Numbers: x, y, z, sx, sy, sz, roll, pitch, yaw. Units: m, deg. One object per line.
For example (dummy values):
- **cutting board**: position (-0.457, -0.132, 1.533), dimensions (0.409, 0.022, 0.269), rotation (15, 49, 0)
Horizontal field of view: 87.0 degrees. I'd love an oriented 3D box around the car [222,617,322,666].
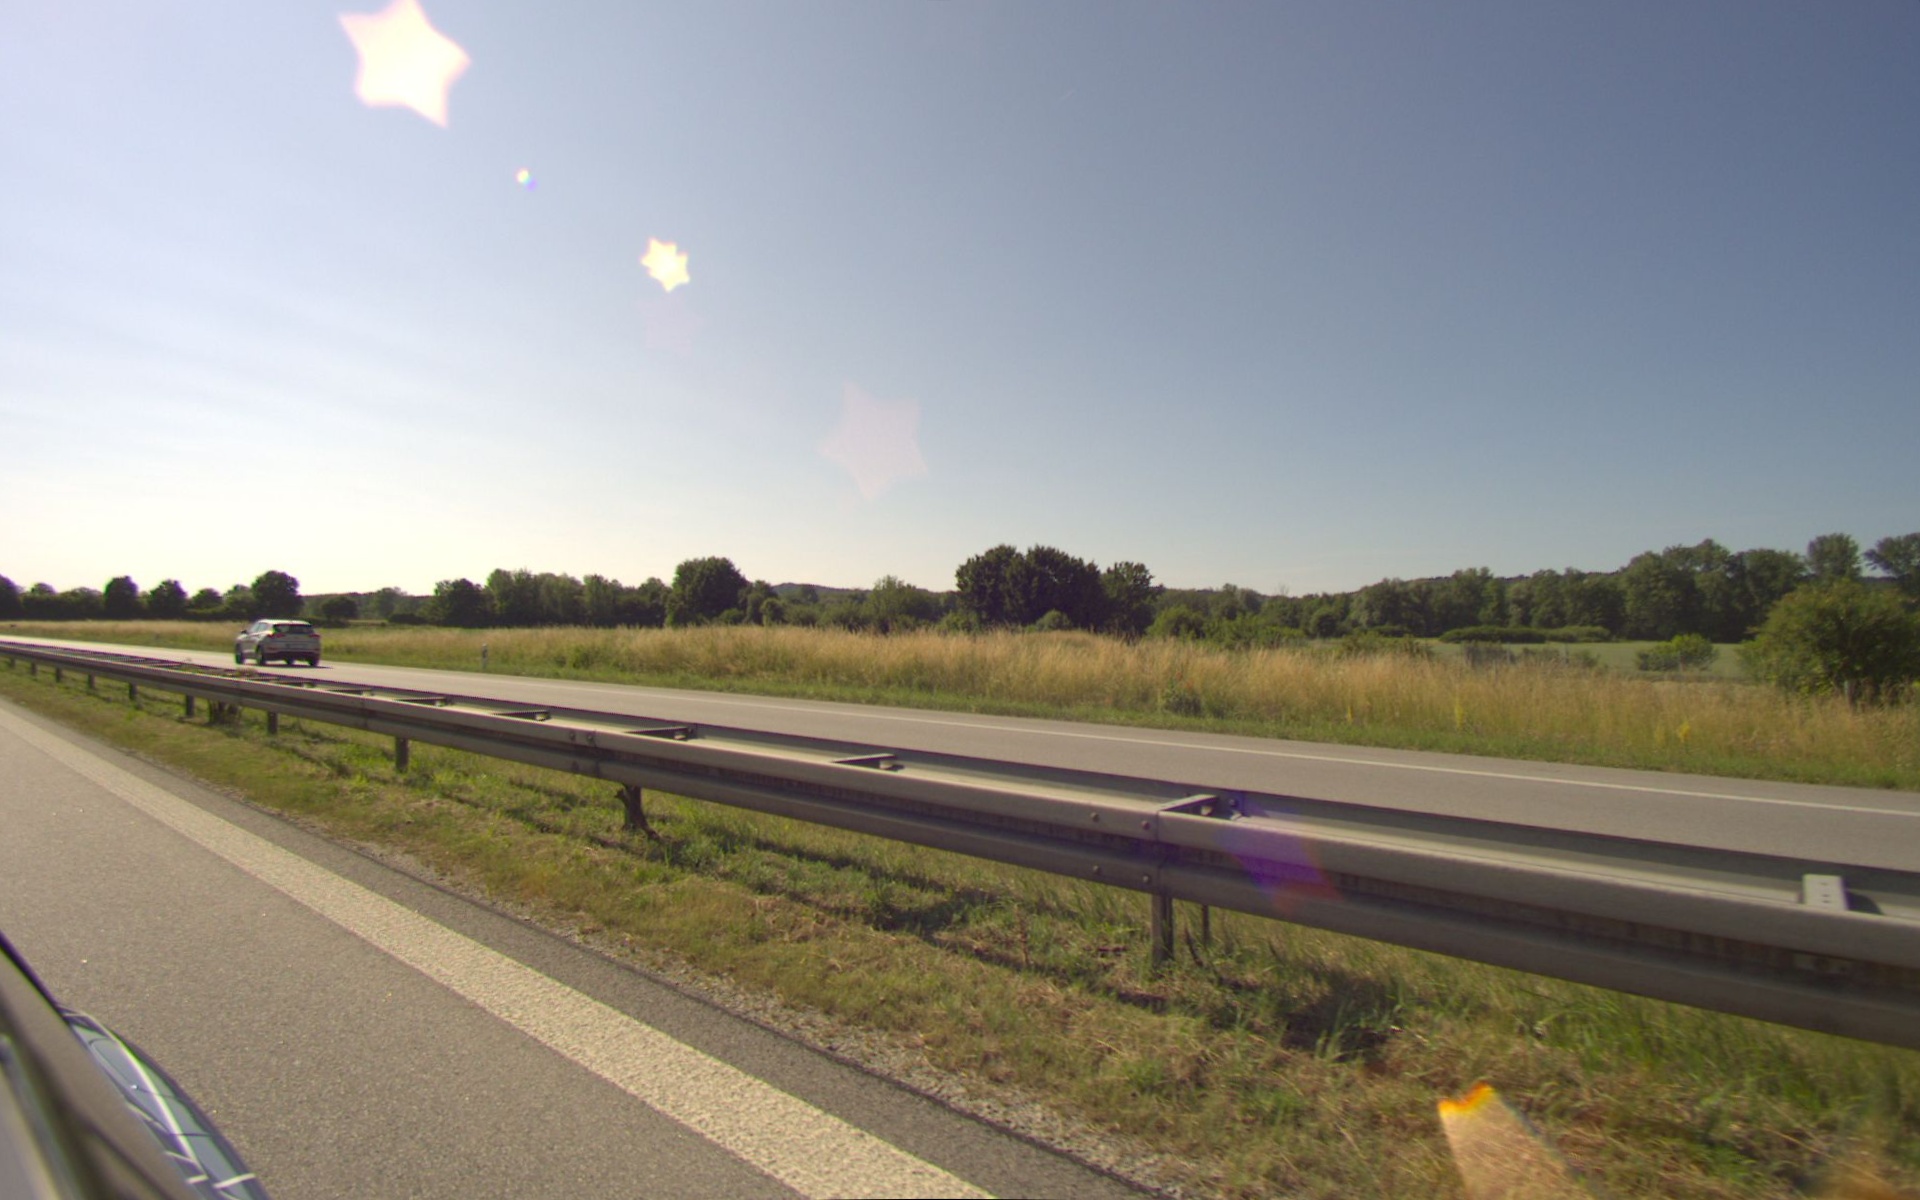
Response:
- **car**: position (-25.330, 1.485, 37.178), dimensions (4.729, 1.696, 1.882), rotation (-1, -2, 41)
